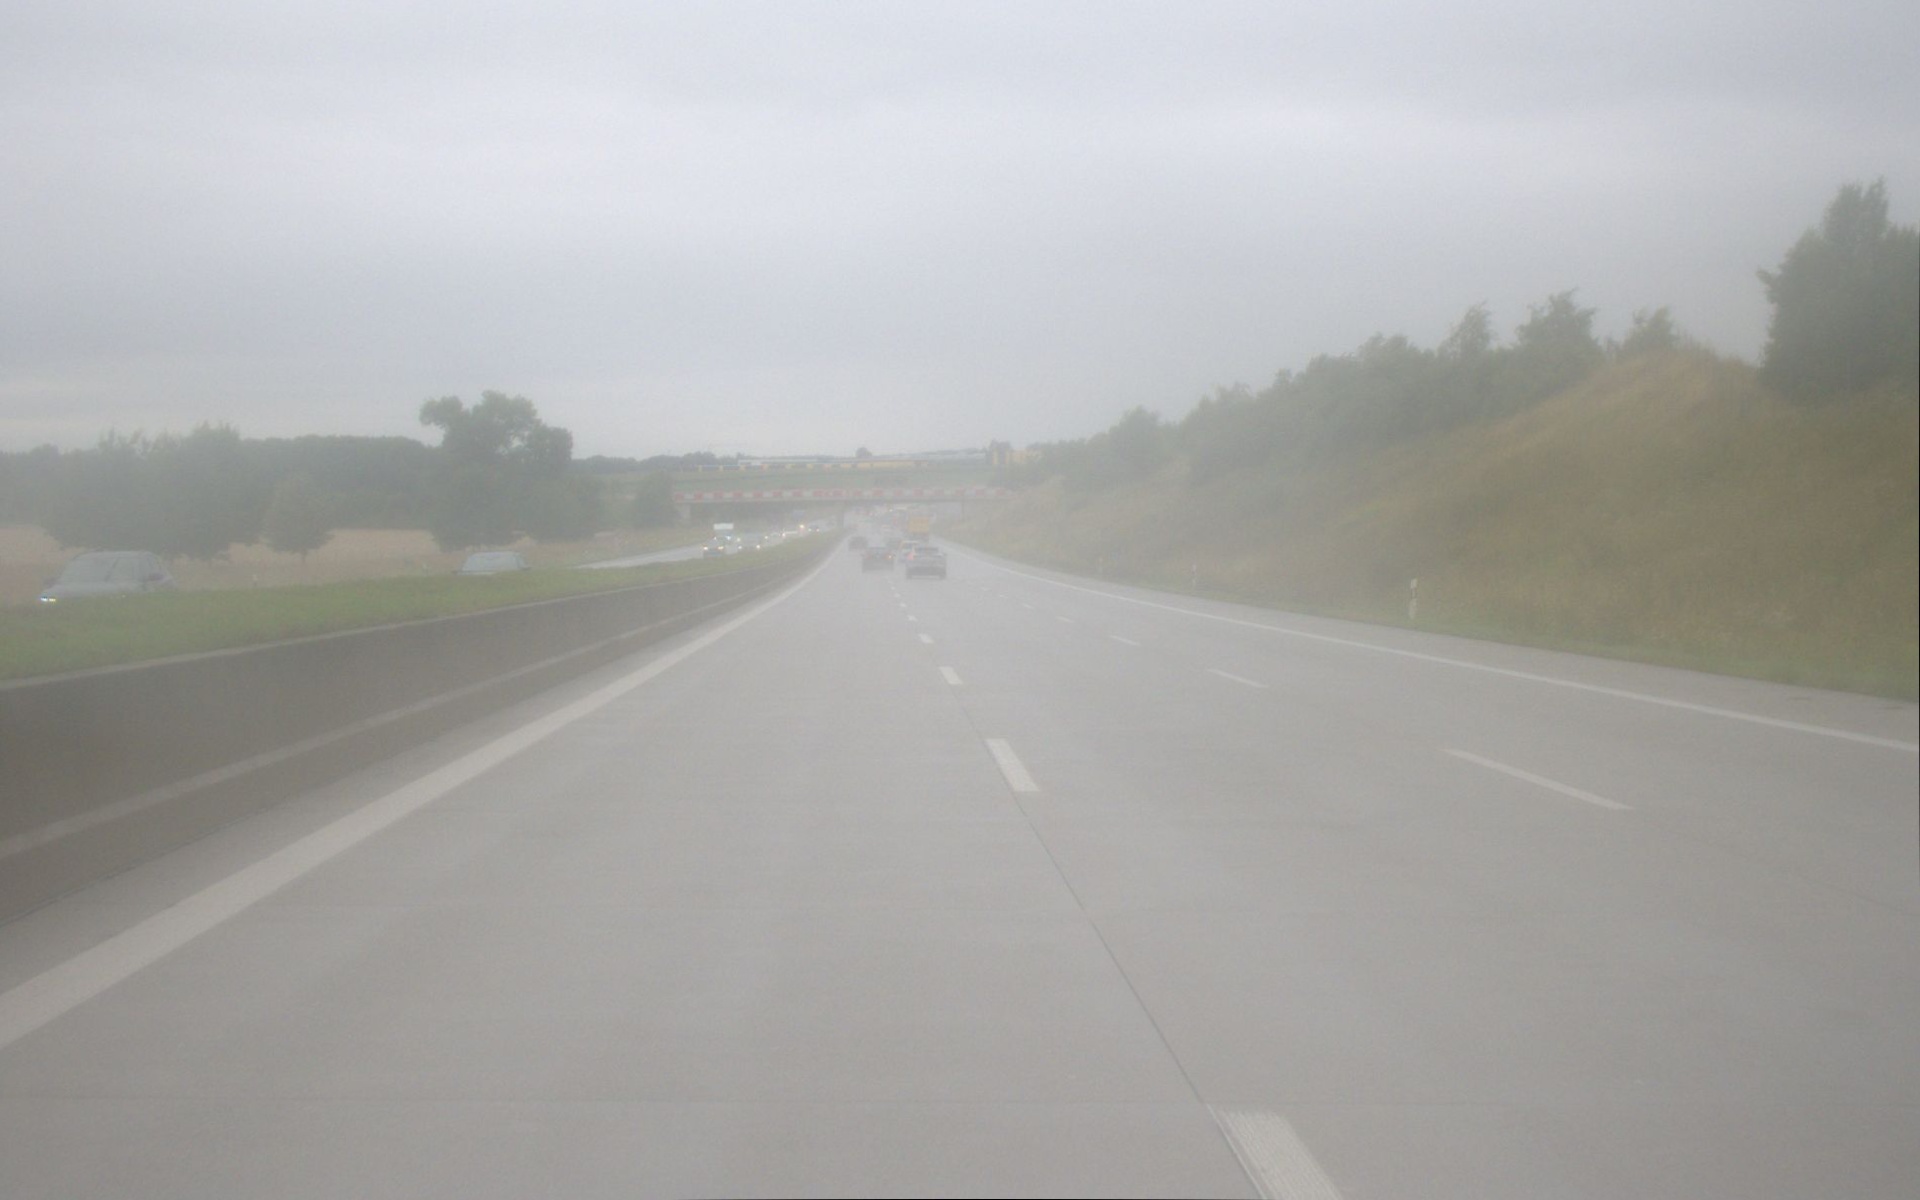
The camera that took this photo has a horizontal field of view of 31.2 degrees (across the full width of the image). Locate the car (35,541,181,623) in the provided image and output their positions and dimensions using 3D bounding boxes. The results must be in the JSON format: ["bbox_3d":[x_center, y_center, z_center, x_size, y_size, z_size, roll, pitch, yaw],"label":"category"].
[{"bbox_3d":[-15.136,-0.351,61.277,1.601,1.382,4.624,0,1,-2],"label":"car"}]

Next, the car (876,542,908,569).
[{"bbox_3d":[-3.698,-2.463,188.608,1.729,1.326,4.430,1,2,-1],"label":"car"}]

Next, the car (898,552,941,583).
[{"bbox_3d":[-1.949,-1.570,163.660,1.847,1.326,4.431,1,2,-3],"label":"car"}]
